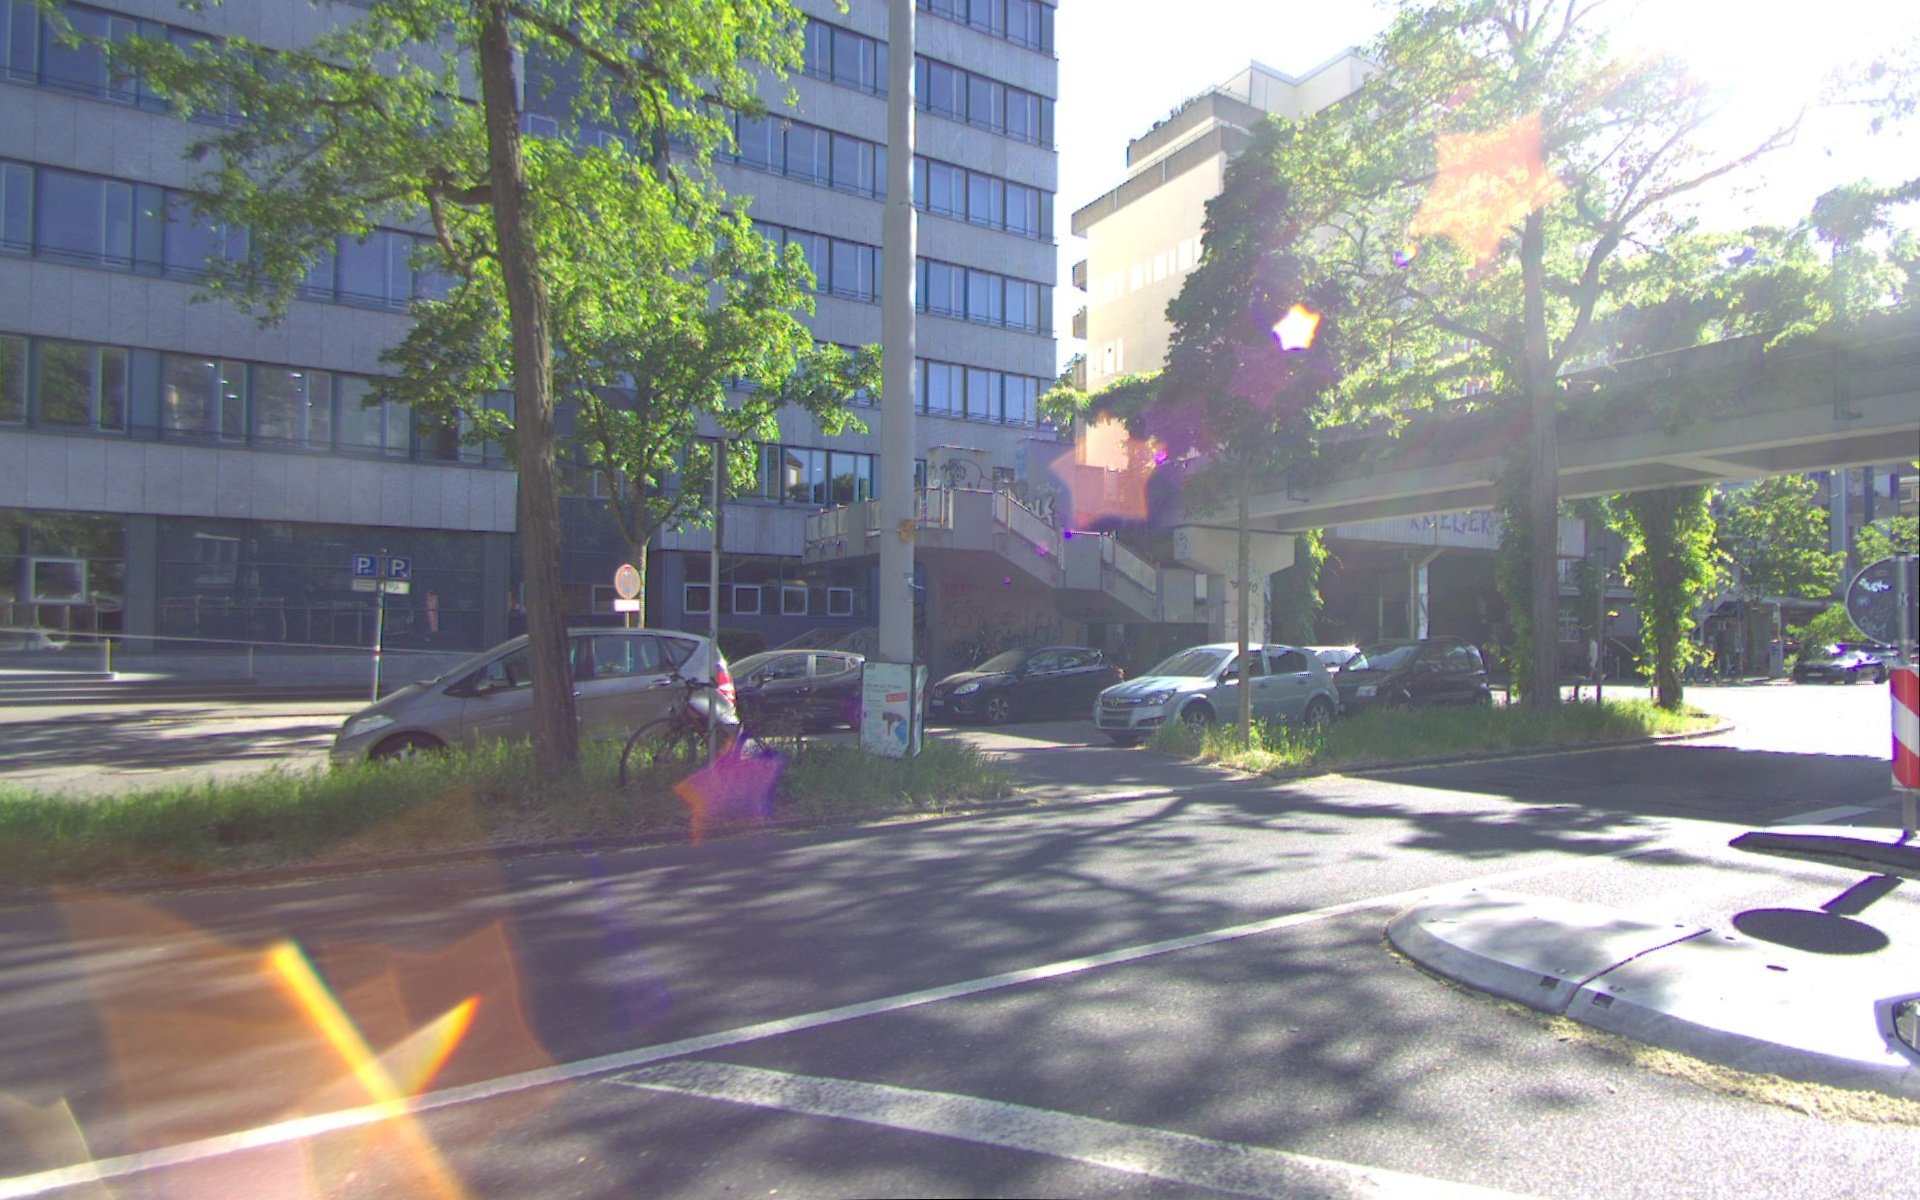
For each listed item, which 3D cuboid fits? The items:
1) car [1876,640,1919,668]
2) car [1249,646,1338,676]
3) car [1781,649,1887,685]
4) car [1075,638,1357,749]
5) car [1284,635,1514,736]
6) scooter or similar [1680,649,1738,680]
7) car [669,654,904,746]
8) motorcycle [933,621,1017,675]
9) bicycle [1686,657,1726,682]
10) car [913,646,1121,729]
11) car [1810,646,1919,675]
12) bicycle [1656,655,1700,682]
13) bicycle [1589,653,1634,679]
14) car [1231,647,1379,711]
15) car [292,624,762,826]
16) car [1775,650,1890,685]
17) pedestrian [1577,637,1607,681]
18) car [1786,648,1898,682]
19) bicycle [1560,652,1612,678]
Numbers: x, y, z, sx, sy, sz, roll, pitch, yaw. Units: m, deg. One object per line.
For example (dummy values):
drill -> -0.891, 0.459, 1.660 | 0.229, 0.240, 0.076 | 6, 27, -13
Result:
car -> 55.724, 3.110, 57.938 | 1.670, 1.651, 3.963 | 2, -3, -34
car -> 16.414, 2.977, 49.569 | 1.747, 1.429, 4.030 | 1, -3, -31
car -> 36.325, 2.749, 41.723 | 4.474, 1.416, 1.883 | 1, -3, -29
car -> 3.932, 1.370, 15.201 | 4.235, 1.466, 1.644 | 2, -6, -32
car -> 7.563, 1.429, 17.262 | 3.736, 1.558, 1.732 | 1, -5, -31
scooter or similar -> 32.894, 2.806, 44.140 | 0.624, 1.294, 1.954 | 1, -2, -35
car -> -3.008, 1.686, 17.697 | 3.762, 1.422, 1.671 | 2, -3, -34
motorcycle -> 0.386, 1.194, 25.118 | 2.031, 1.287, 0.725 | 2, -2, -32
bicycle -> 30.887, 2.873, 41.592 | 1.775, 1.014, 0.413 | 1, 1, -22
car -> 1.186, 1.707, 20.452 | 3.954, 1.550, 1.724 | 1, -3, -31
car -> 47.087, 3.135, 52.353 | 1.670, 1.443, 3.963 | 2, -3, -34
bicycle -> 29.072, 2.757, 40.671 | 1.772, 1.045, 0.414 | 1, 1, -15
bicycle -> 27.471, 2.779, 42.365 | 1.591, 1.014, 0.414 | 0, 0, 37
car -> 8.652, 1.922, 25.120 | 3.607, 1.505, 1.598 | 1, -3, -32
car -> -4.222, 1.108, 10.125 | 4.036, 1.668, 1.764 | 1, -3, -31
car -> 43.093, 3.301, 49.690 | 1.751, 1.571, 3.963 | 2, -3, -34
pedestrian -> 25.629, 2.400, 40.736 | 0.787, 1.722, 0.751 | 2, 0, -32
car -> 44.837, 3.294, 51.149 | 1.823, 1.628, 3.963 | 2, -3, -34
bicycle -> 26.443, 2.733, 42.440 | 0.480, 1.014, 1.782 | 0, -1, -38
